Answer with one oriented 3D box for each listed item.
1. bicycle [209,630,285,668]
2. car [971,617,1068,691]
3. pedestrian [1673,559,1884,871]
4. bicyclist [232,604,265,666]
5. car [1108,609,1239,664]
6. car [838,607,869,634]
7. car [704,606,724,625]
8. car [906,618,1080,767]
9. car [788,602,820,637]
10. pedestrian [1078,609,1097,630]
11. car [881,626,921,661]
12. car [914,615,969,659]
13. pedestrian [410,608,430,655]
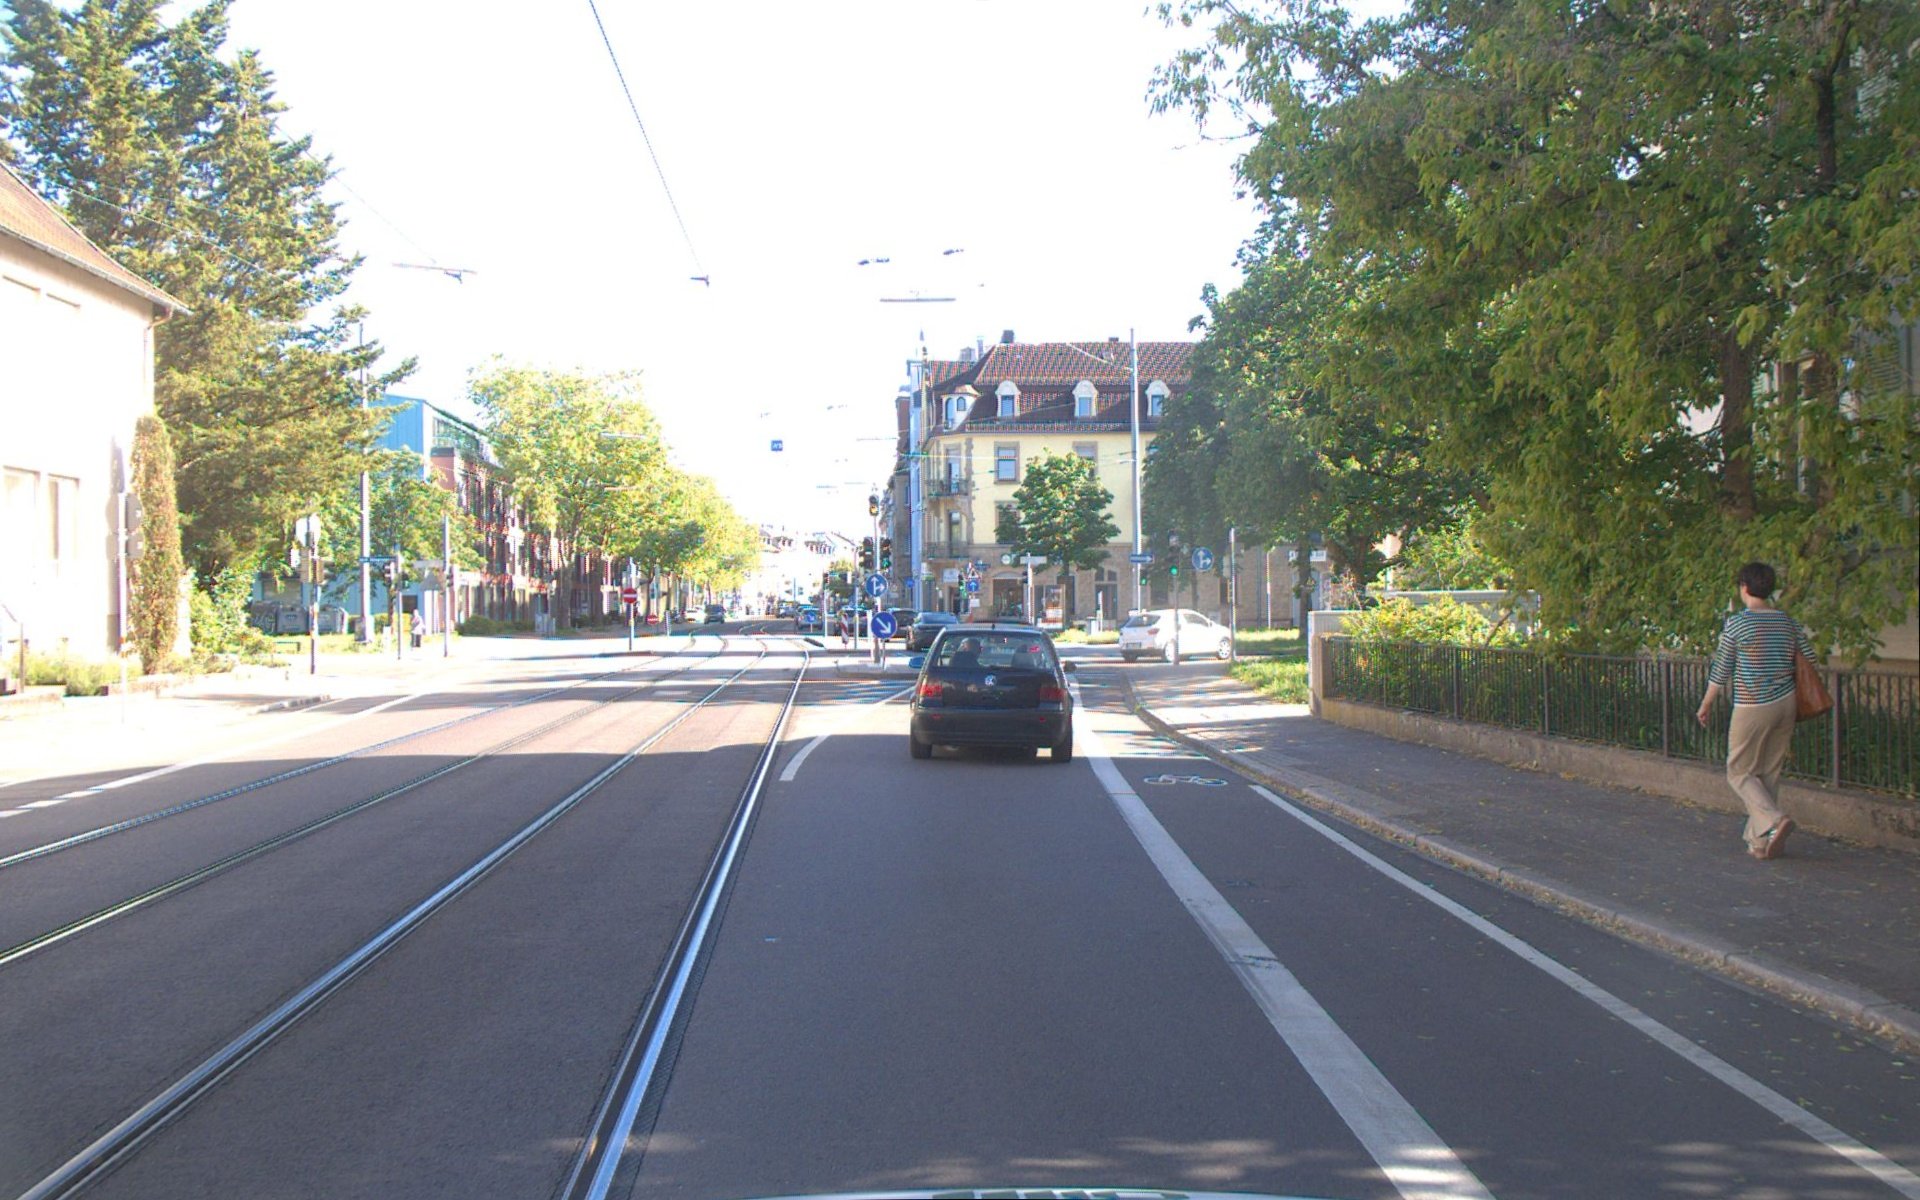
[{"bbox_3d":[-20.133,1.378,46.699,1.905,1.033,0.538,-1,-1,3],"label":"bicycle"},{"bbox_3d":[1.178,1.069,34.103,1.602,1.396,3.754,-1,0,-4],"label":"car"},{"bbox_3d":[4.783,0.644,9.711,0.704,1.717,0.869,-2,-1,-6],"label":"pedestrian"},{"bbox_3d":[-20.090,0.990,46.701,0.665,1.715,0.537,-1,-1,3],"label":"bicyclist"},{"bbox_3d":[6.101,1.006,47.094,3.779,1.466,1.718,-1,0,-43],"label":"car"},{"bbox_3d":[-6.218,1.177,96.005,1.649,1.479,3.374,-1,0,-6],"label":"car"},{"bbox_3d":[-24.607,1.536,165.177,1.935,1.847,4.288,-1,0,-9],"label":"car"},{"bbox_3d":[0.441,0.926,18.171,1.680,1.427,4.007,1,-1,3],"label":"car"},{"bbox_3d":[-8.963,1.109,95.079,1.753,1.892,3.994,1,-1,-6],"label":"car"},{"bbox_3d":[7.276,1.119,94.560,0.960,1.208,0.742,-1,0,-5],"label":"pedestrian"},{"bbox_3d":[-2.704,1.970,75.266,1.540,1.334,3.495,-1,2,-7],"label":"car"},{"bbox_3d":[-0.678,1.283,58.476,1.540,1.334,3.642,-1,2,-7],"label":"car"},{"bbox_3d":[-20.434,1.181,62.545,0.601,1.719,0.728,2,0,-23],"label":"pedestrian"}]
